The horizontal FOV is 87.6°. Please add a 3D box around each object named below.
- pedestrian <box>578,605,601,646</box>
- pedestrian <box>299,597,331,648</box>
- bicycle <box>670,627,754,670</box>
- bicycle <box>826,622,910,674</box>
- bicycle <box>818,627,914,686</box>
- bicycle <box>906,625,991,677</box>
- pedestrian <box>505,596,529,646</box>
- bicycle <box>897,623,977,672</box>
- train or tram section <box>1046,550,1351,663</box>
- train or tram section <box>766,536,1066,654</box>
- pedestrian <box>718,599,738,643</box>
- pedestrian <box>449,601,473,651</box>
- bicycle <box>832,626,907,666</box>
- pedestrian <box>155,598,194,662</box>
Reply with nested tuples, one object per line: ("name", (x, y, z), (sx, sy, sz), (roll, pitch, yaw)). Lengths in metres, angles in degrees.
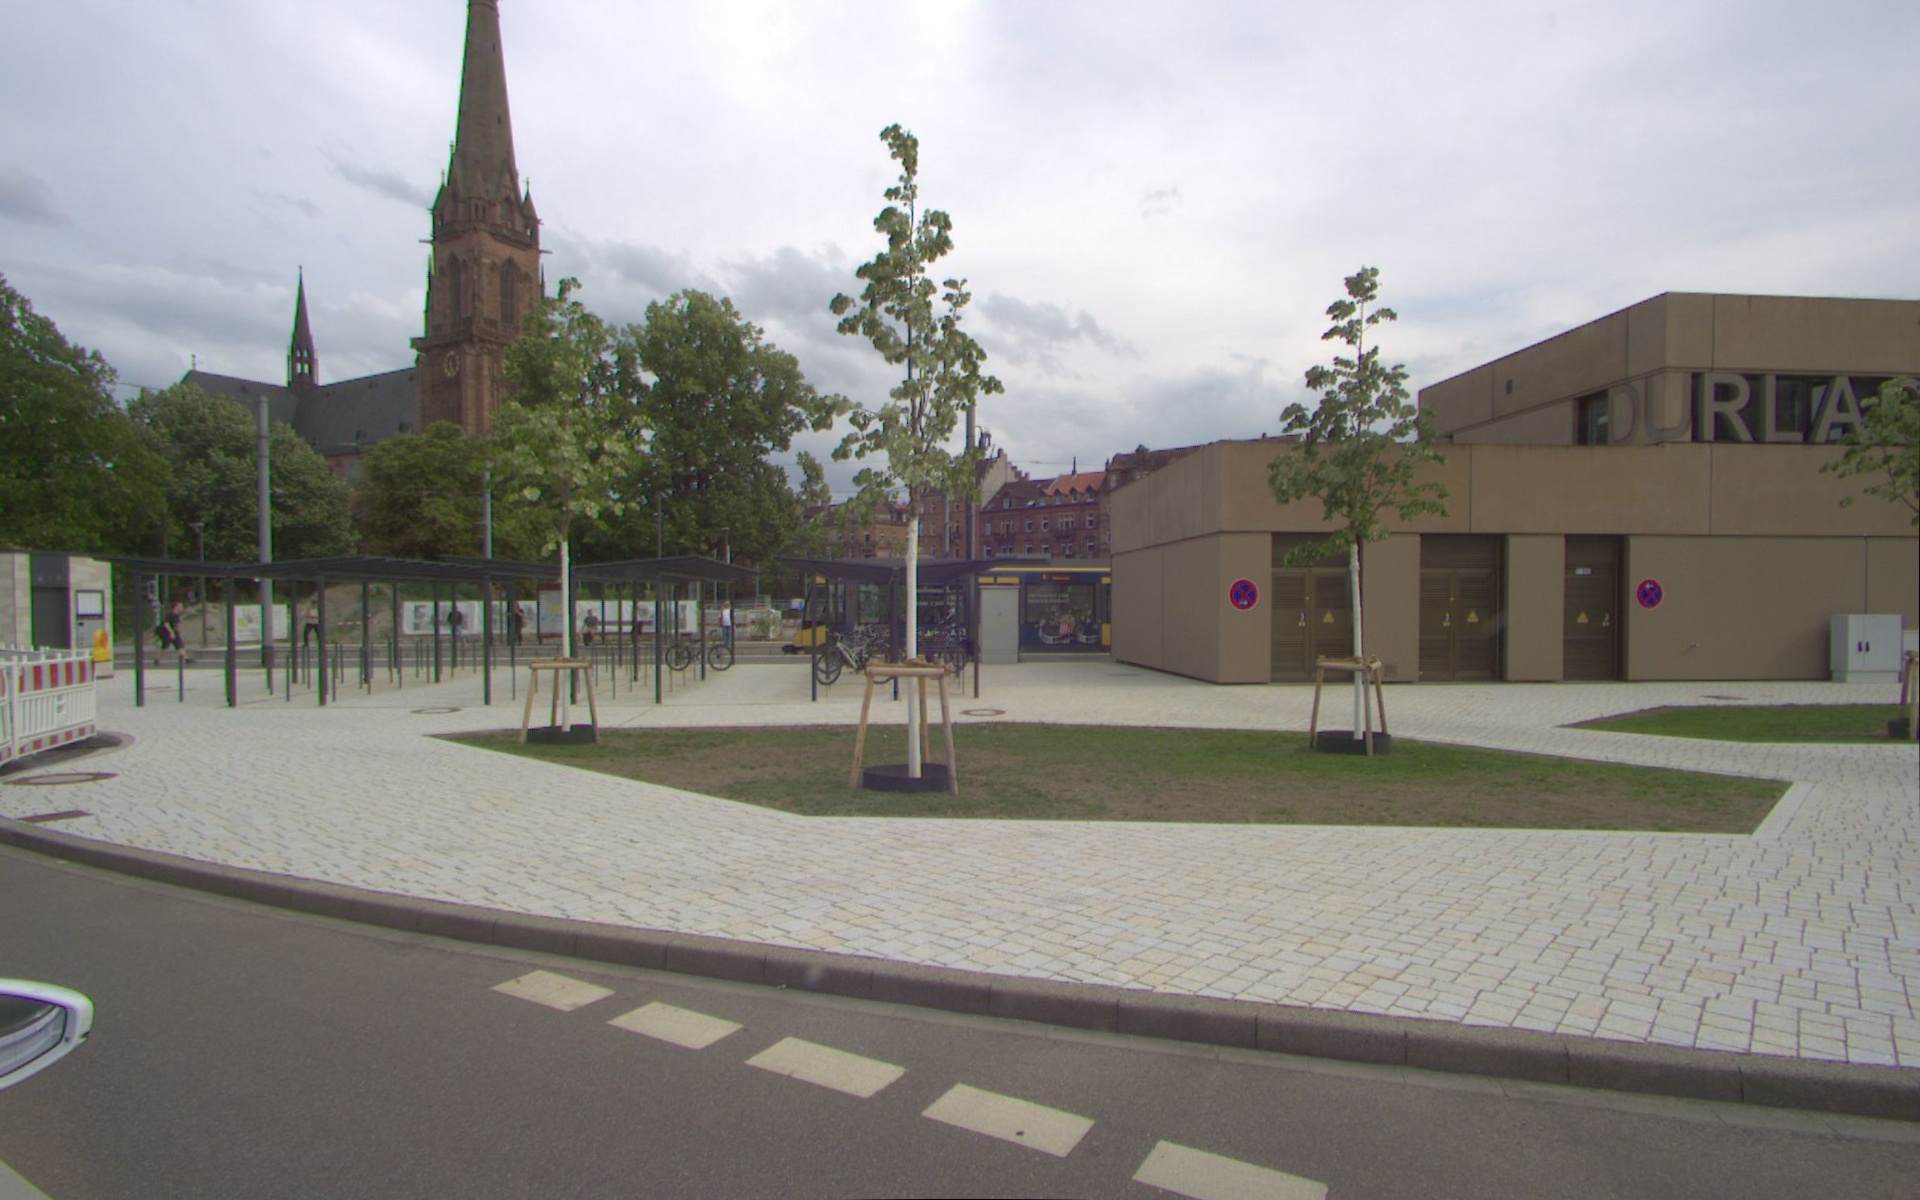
("pedestrian", (-14.081, 0.975, 38.056), (0.665, 1.505, 0.689), (2, 1, -11))
("pedestrian", (-23.992, 0.831, 37.260), (0.743, 1.825, 0.817), (3, 2, 42))
("bicycle", (-6.120, 1.202, 24.795), (1.929, 0.968, 0.583), (2, 1, -7))
("bicycle", (-2.209, 1.160, 24.004), (1.931, 1.172, 0.583), (2, 1, -13))
("bicycle", (-1.995, 1.199, 21.227), (1.931, 1.172, 0.583), (2, 1, -13))
("bicycle", (-0.282, 1.228, 24.068), (1.931, 1.172, 0.583), (2, 1, -13))
("pedestrian", (-16.695, 0.788, 37.748), (0.665, 1.825, 0.522), (2, 2, -11))
("bicycle", (-0.585, 1.201, 25.491), (1.931, 1.172, 0.583), (2, 1, -13))
("train or tram section", (7.741, 0.197, 33.221), (9.248, 3.256, 3.061), (2, 1, -4))
("train or tram section", (-1.427, -0.157, 32.590), (9.189, 3.322, 3.061), (2, 1, -4))
("pedestrian", (-9.134, 0.825, 39.445), (0.665, 1.701, 0.709), (2, 1, -11))
("pedestrian", (-18.681, 0.960, 37.494), (0.665, 1.825, 0.522), (2, 2, -11))
("bicycle", (-2.408, 1.218, 26.511), (1.929, 0.983, 0.583), (2, 1, -7))
("pedestrian", (-20.963, 0.791, 26.730), (0.618, 1.677, 0.531), (2, 2, -5))
